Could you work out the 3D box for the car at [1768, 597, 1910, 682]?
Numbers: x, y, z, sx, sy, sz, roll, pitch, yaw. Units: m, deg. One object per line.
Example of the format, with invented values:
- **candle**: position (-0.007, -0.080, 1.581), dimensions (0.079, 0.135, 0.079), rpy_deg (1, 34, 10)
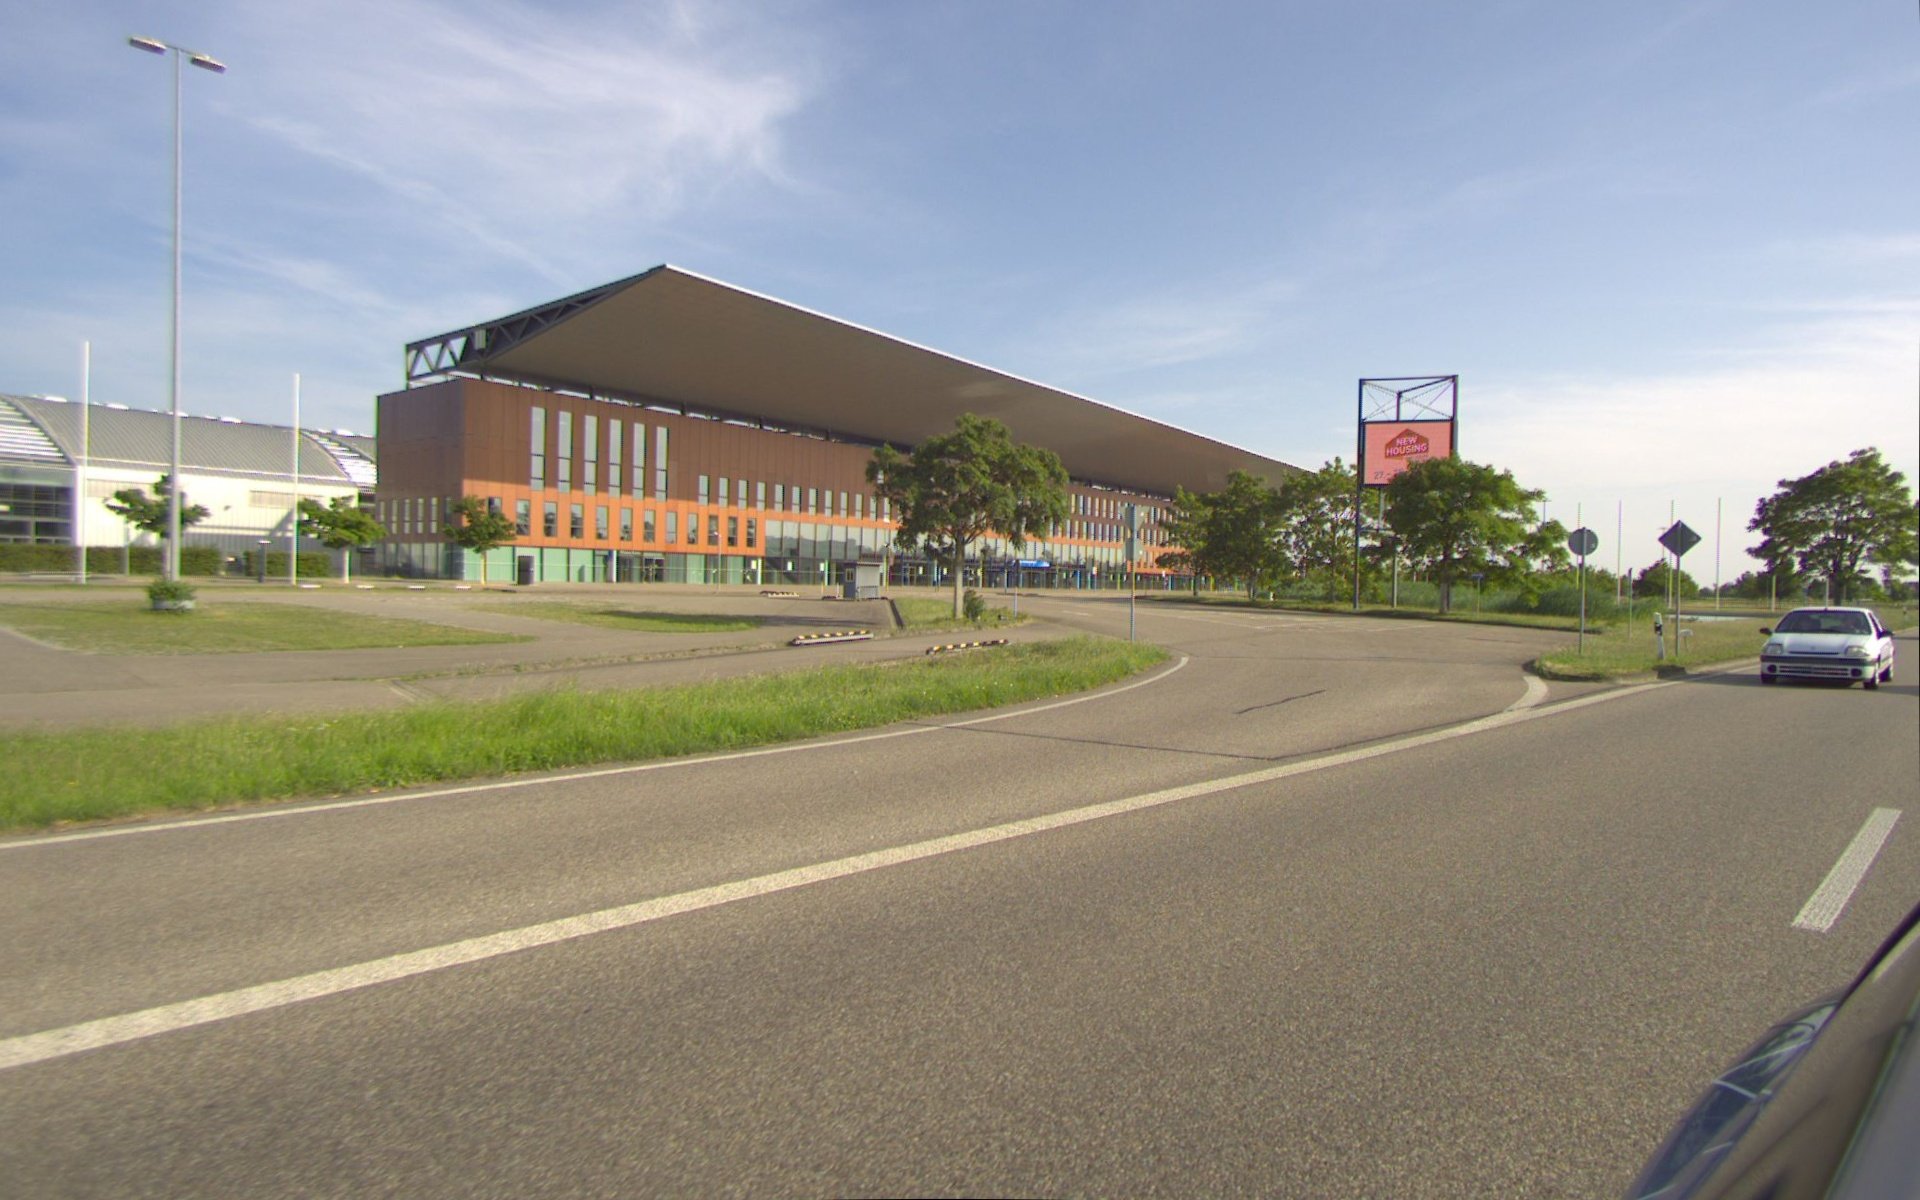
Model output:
- **car**: position (16.132, 0.649, 18.529), dimensions (3.393, 1.396, 1.576), rpy_deg (0, 1, -42)
